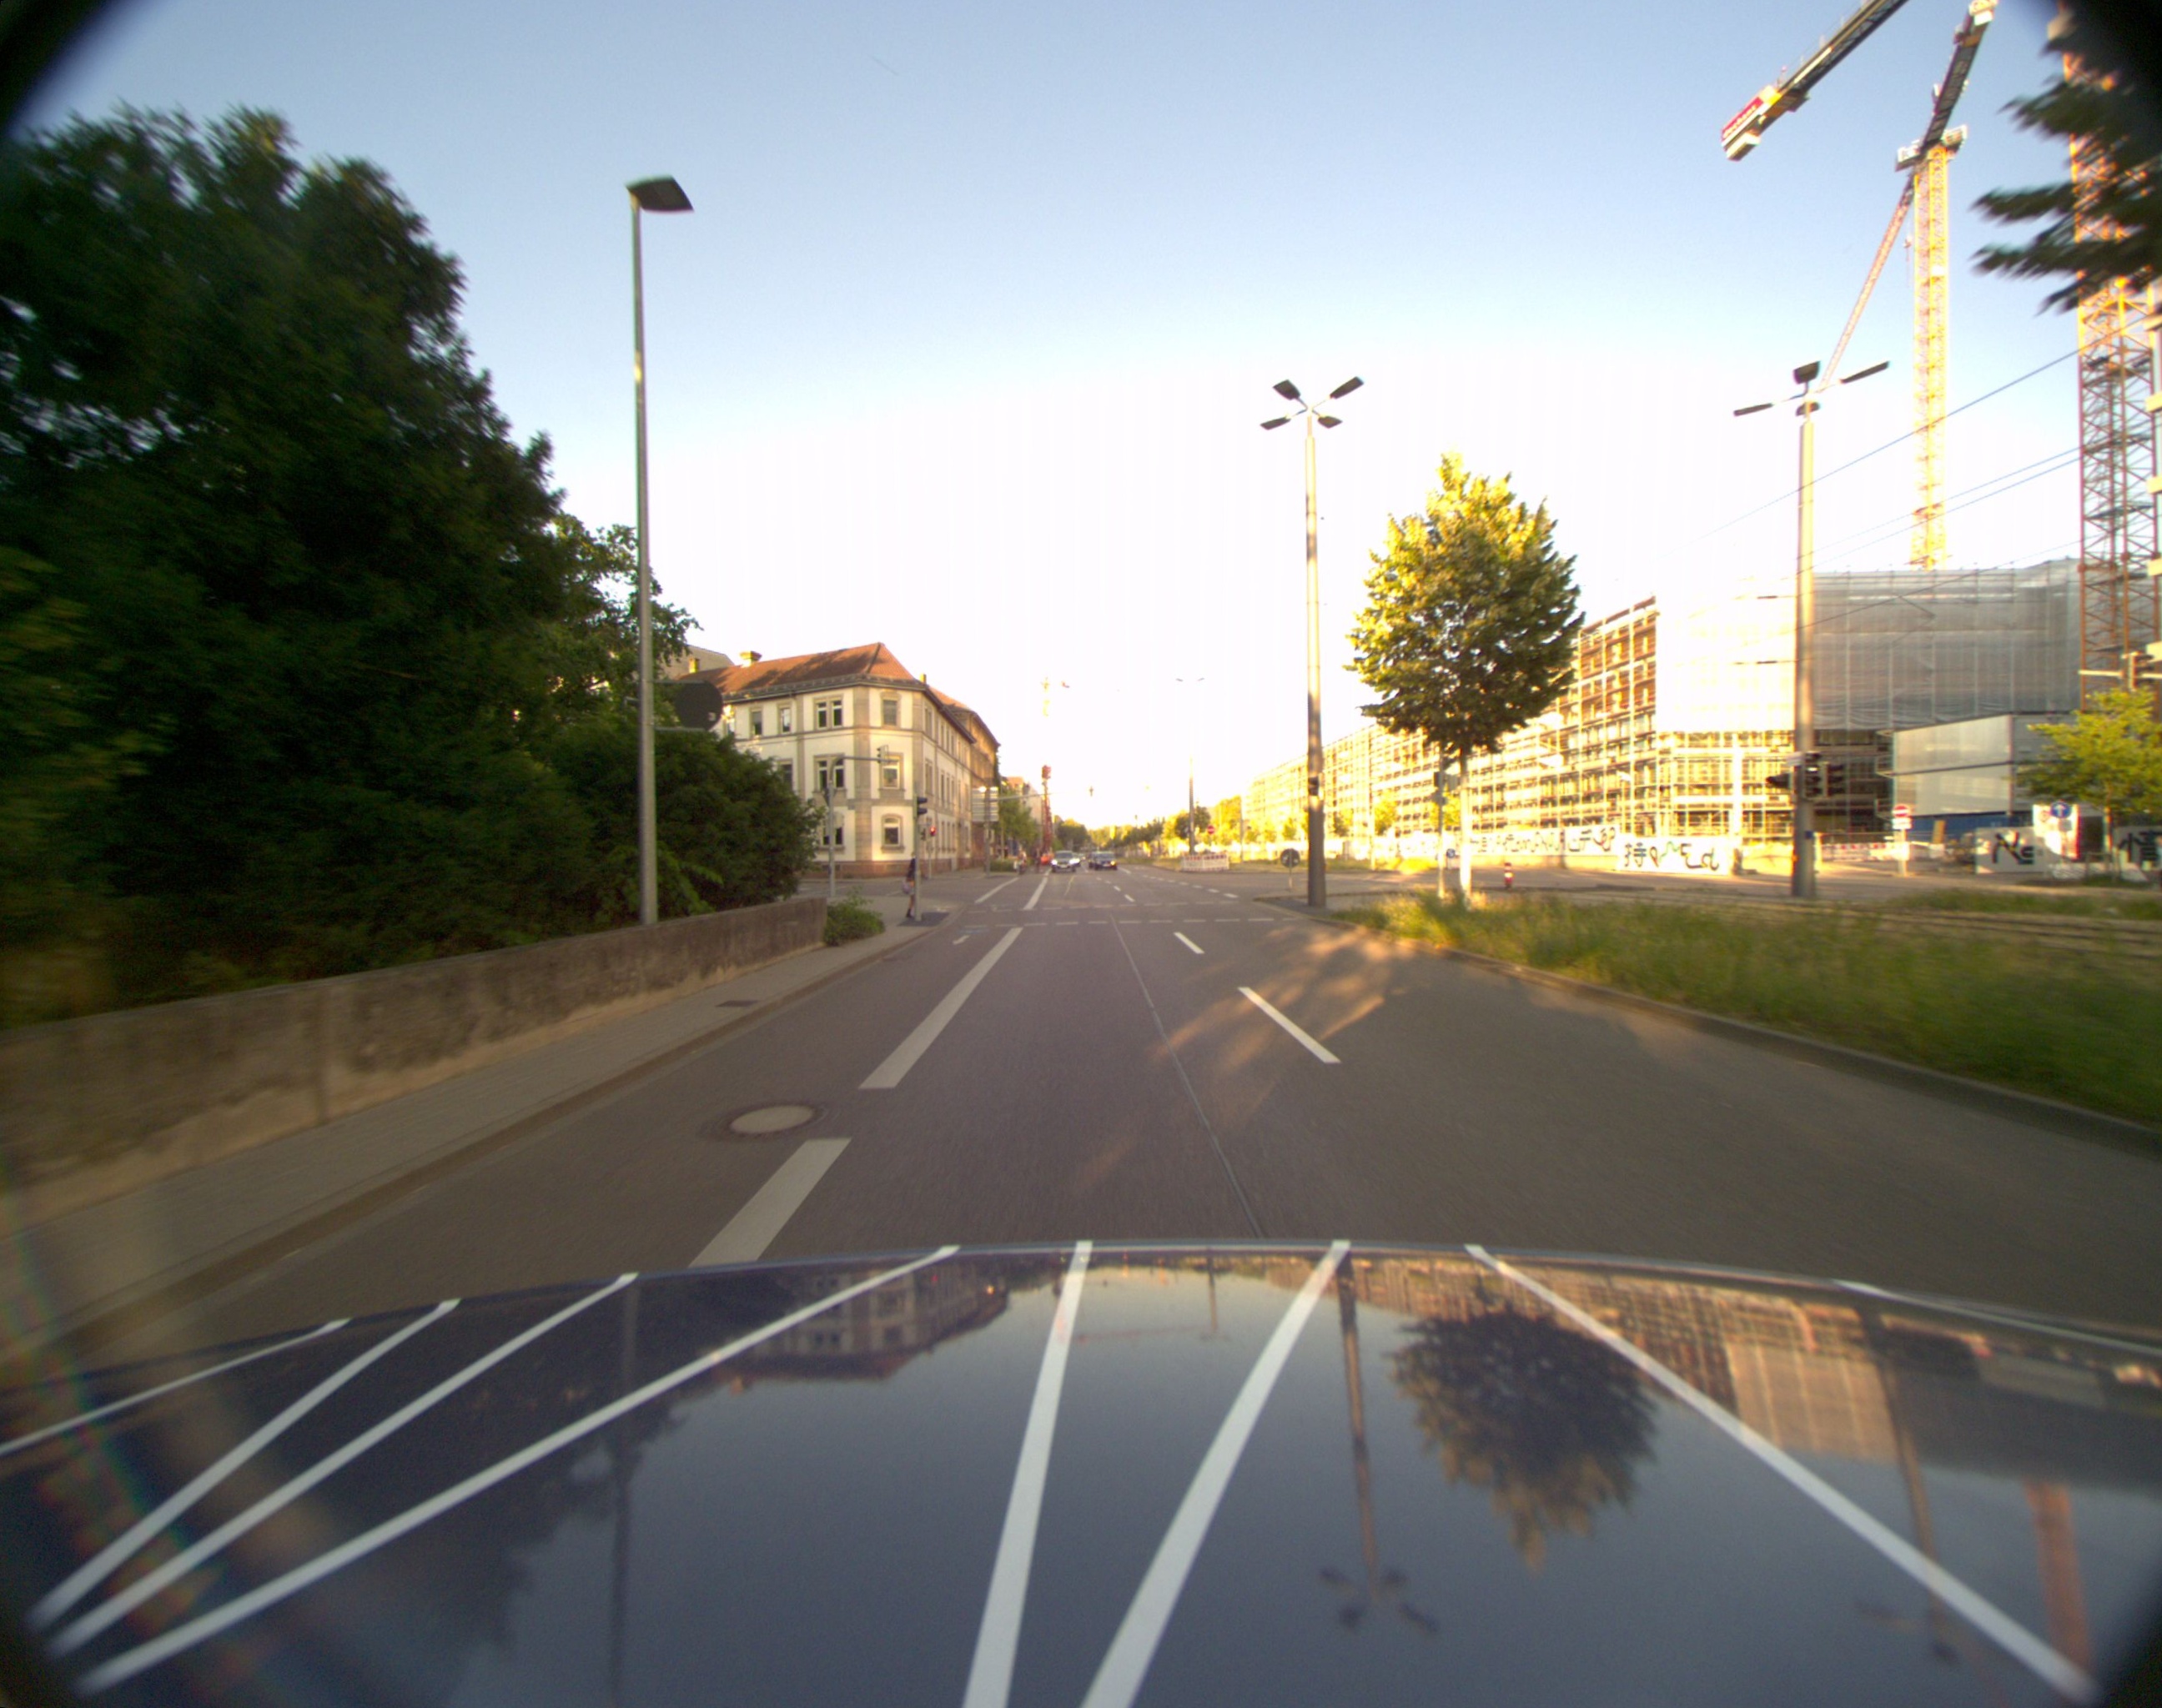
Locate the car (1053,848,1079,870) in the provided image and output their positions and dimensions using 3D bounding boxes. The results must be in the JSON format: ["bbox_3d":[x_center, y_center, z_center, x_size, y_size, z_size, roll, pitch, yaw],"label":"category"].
[{"bbox_3d":[-1.135,0.370,59.240,1.833,1.588,4.260,-1,0,1],"label":"car"}]

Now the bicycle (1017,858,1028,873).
[{"bbox_3d":[-4.379,0.843,57.019,0.528,1.045,2.048,2,2,3],"label":"bicycle"}]

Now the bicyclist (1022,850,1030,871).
[{"bbox_3d":[-4.270,0.500,58.966,0.512,1.539,0.692,0,1,3],"label":"bicyclist"}]

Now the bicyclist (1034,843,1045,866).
[{"bbox_3d":[-3.084,0.042,57.030,0.705,1.692,0.767,-4,2,-4],"label":"bicyclist"}]

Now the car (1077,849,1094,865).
[{"bbox_3d":[0.452,0.329,80.095,1.702,1.588,3.890,-1,0,1],"label":"car"}]

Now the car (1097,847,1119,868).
[{"bbox_3d":[2.132,0.295,61.354,1.702,1.588,4.260,-1,0,1],"label":"car"}]

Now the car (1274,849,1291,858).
[{"bbox_3d":[35.010,-0.040,131.908,1.668,1.447,4.067,1,1,-2],"label":"car"}]

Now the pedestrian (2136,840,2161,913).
[{"bbox_3d":[28.118,0.576,19.596,0.708,1.825,0.762,-3,1,-1],"label":"pedestrian"}]

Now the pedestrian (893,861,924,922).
[{"bbox_3d":[-4.407,0.942,19.417,0.580,1.495,0.619,1,1,6],"label":"pedestrian"}]

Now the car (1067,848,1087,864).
[{"bbox_3d":[-0.392,0.219,80.265,1.879,1.652,3.762,-1,0,1],"label":"car"}]

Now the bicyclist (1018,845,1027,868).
[{"bbox_3d":[-4.359,0.183,56.986,0.510,1.692,0.768,2,3,3],"label":"bicyclist"}]

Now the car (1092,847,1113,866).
[{"bbox_3d":[1.926,0.209,69.245,1.861,1.588,4.260,-1,0,1],"label":"car"}]

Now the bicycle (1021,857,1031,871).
[{"bbox_3d":[-4.258,0.782,59.323,0.517,1.045,2.044,0,1,3],"label":"bicycle"}]

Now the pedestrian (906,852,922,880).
[{"bbox_3d":[-10.089,0.709,45.888,0.819,1.647,0.635,-1,1,-19],"label":"pedestrian"}]

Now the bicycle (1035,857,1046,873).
[{"bbox_3d":[-3.045,0.817,56.874,0.721,1.045,2.043,-3,1,-3],"label":"bicycle"}]
